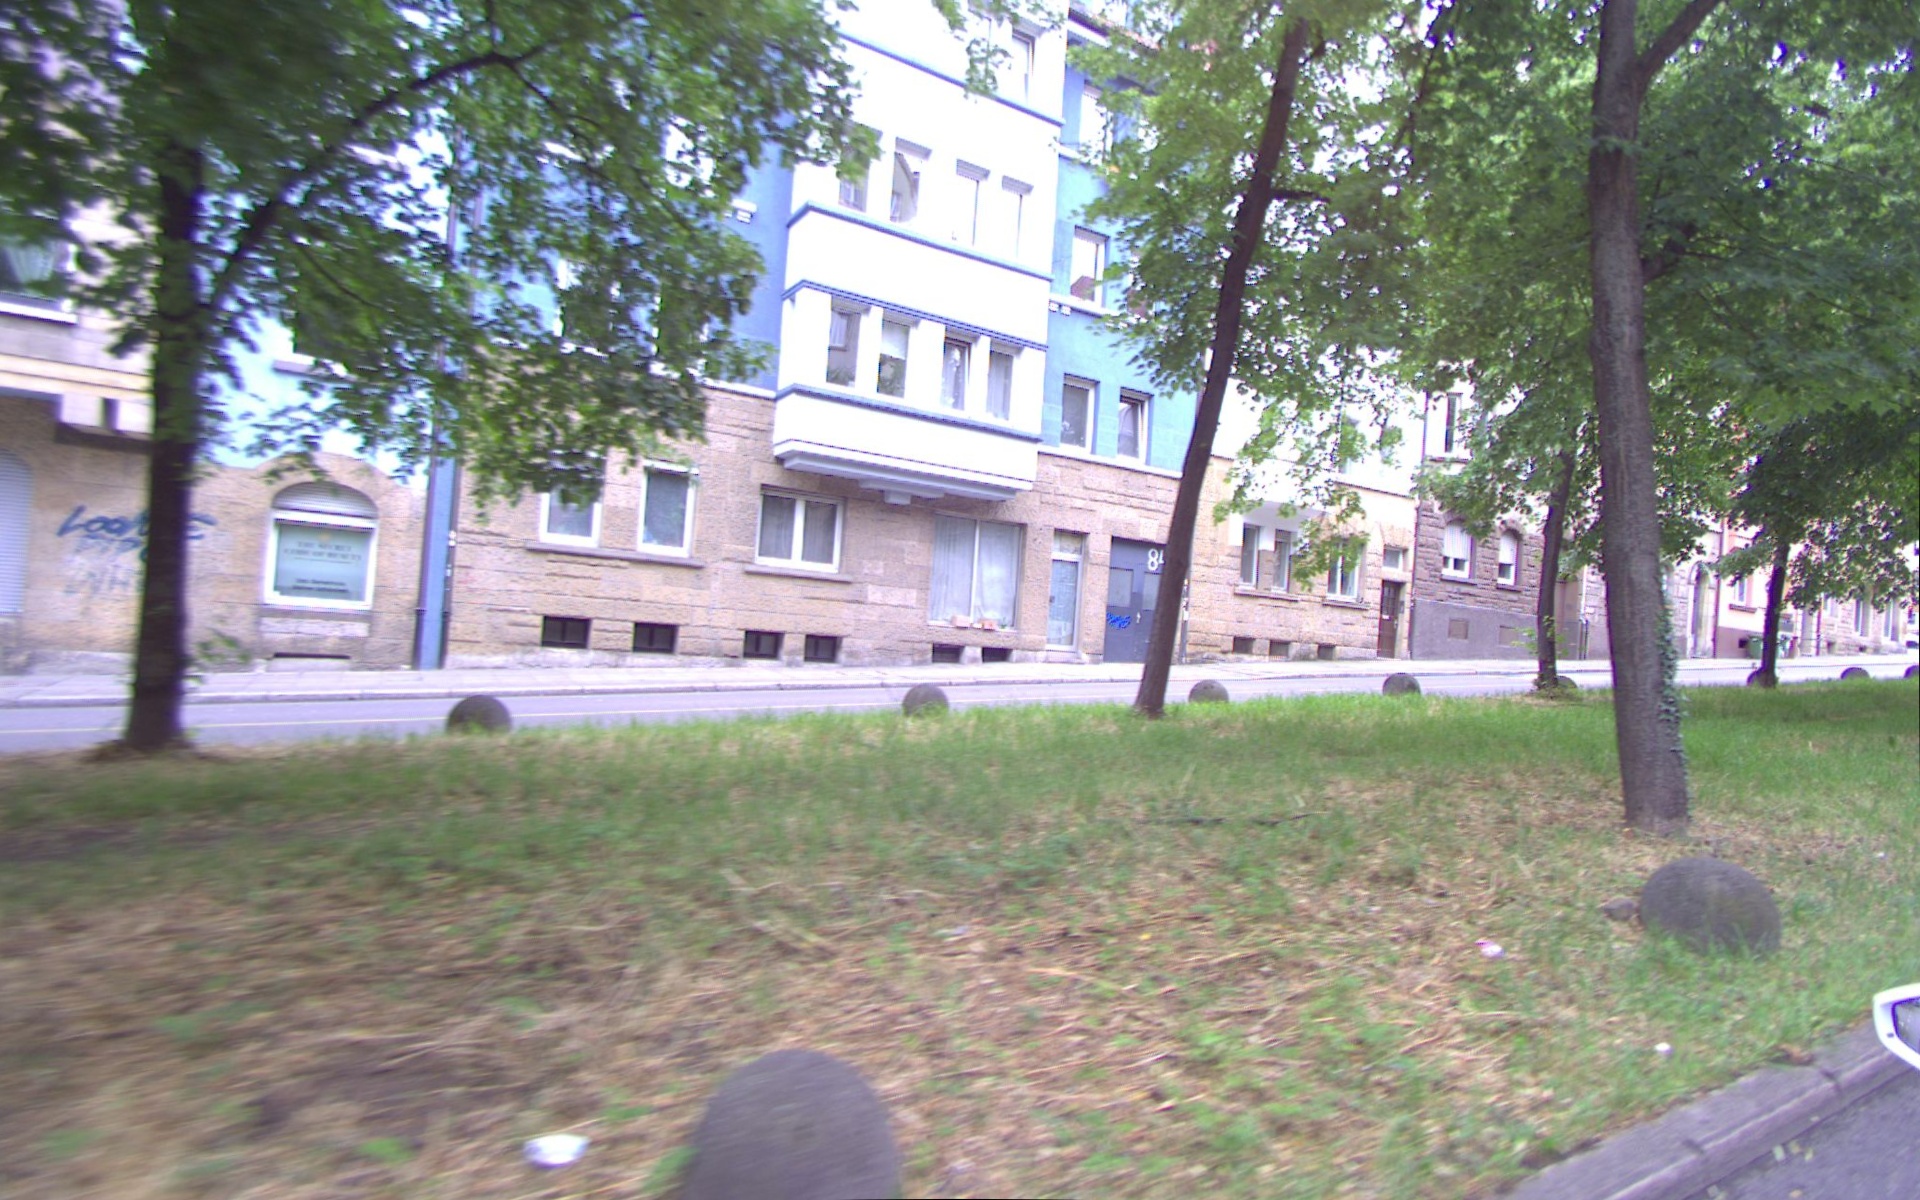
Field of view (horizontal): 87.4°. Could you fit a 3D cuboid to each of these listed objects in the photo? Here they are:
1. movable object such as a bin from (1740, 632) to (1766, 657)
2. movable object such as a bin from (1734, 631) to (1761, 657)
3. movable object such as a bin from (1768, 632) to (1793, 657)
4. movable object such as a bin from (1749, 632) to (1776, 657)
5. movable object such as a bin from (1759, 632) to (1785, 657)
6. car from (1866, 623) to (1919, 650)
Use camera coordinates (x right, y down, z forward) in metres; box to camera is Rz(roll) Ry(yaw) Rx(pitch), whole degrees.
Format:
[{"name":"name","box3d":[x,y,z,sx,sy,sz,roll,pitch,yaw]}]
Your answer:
[{"name":"movable object such as a bin","box3d":[30.188,1.681,38.230,0.595,0.916,0.605,2,1,-34]},{"name":"movable object such as a bin","box3d":[29.679,1.657,37.864,0.595,0.916,0.605,2,1,-34]},{"name":"movable object such as a bin","box3d":[32.130,1.745,39.337,0.595,0.916,0.605,2,1,-34]},{"name":"movable object such as a bin","box3d":[30.820,1.704,38.580,0.595,0.916,0.605,2,1,-34]},{"name":"movable object such as a bin","box3d":[31.501,1.719,38.979,0.595,0.916,0.605,2,1,-34]},{"name":"car","box3d":[63.014,2.432,66.911,1.845,1.687,4.002,3,-1,4]}]
